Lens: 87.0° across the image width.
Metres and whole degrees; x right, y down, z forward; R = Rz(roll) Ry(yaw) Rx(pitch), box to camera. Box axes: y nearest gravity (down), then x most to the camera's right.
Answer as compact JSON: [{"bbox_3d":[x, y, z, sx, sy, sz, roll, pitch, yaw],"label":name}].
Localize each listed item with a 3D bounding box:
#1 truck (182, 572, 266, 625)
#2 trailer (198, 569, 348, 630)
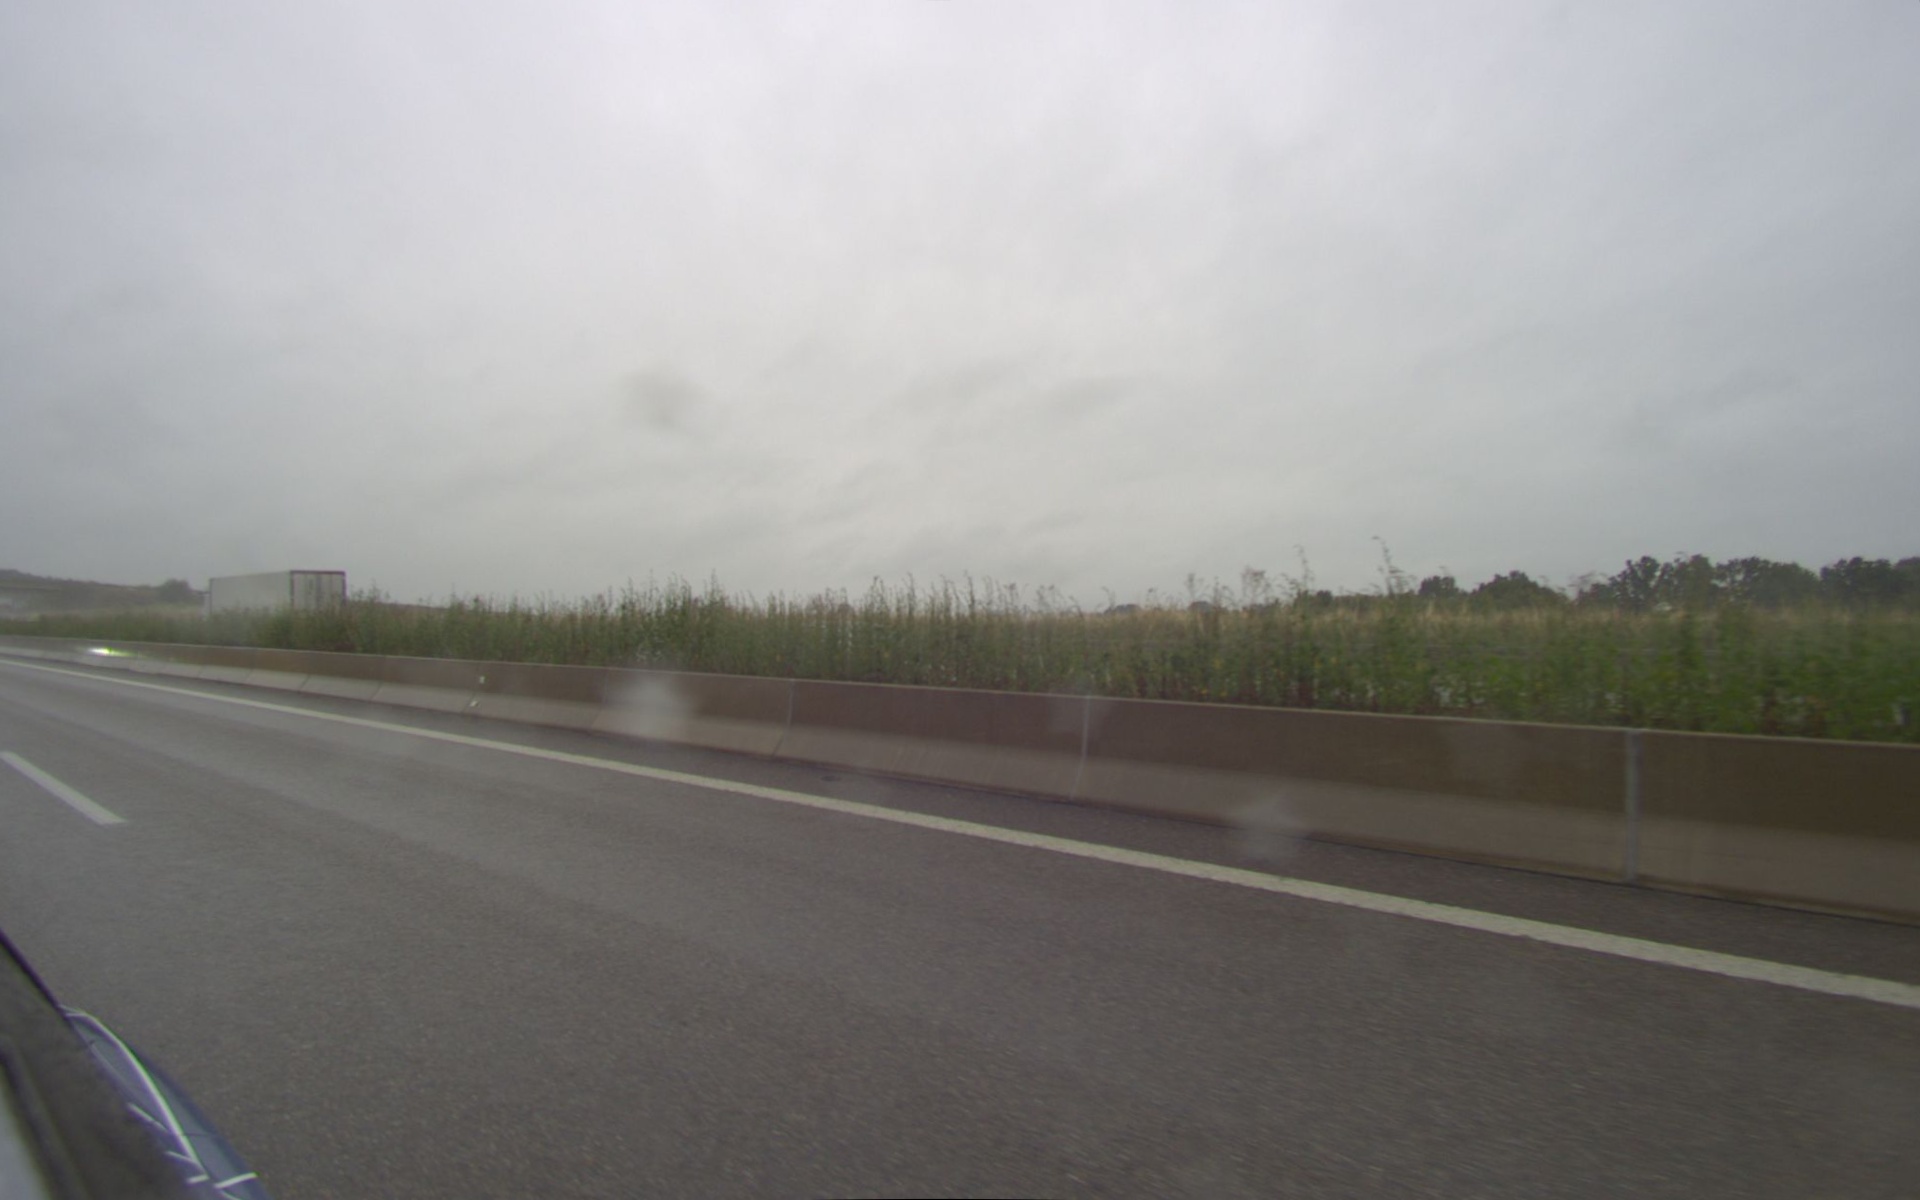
[{"bbox_3d":[-46.480,-0.113,63.870,5.591,3.147,2.963,0,0,39],"label":"truck"},{"bbox_3d":[-40.153,-0.059,58.735,15.705,3.168,2.958,0,0,40],"label":"trailer"}]
